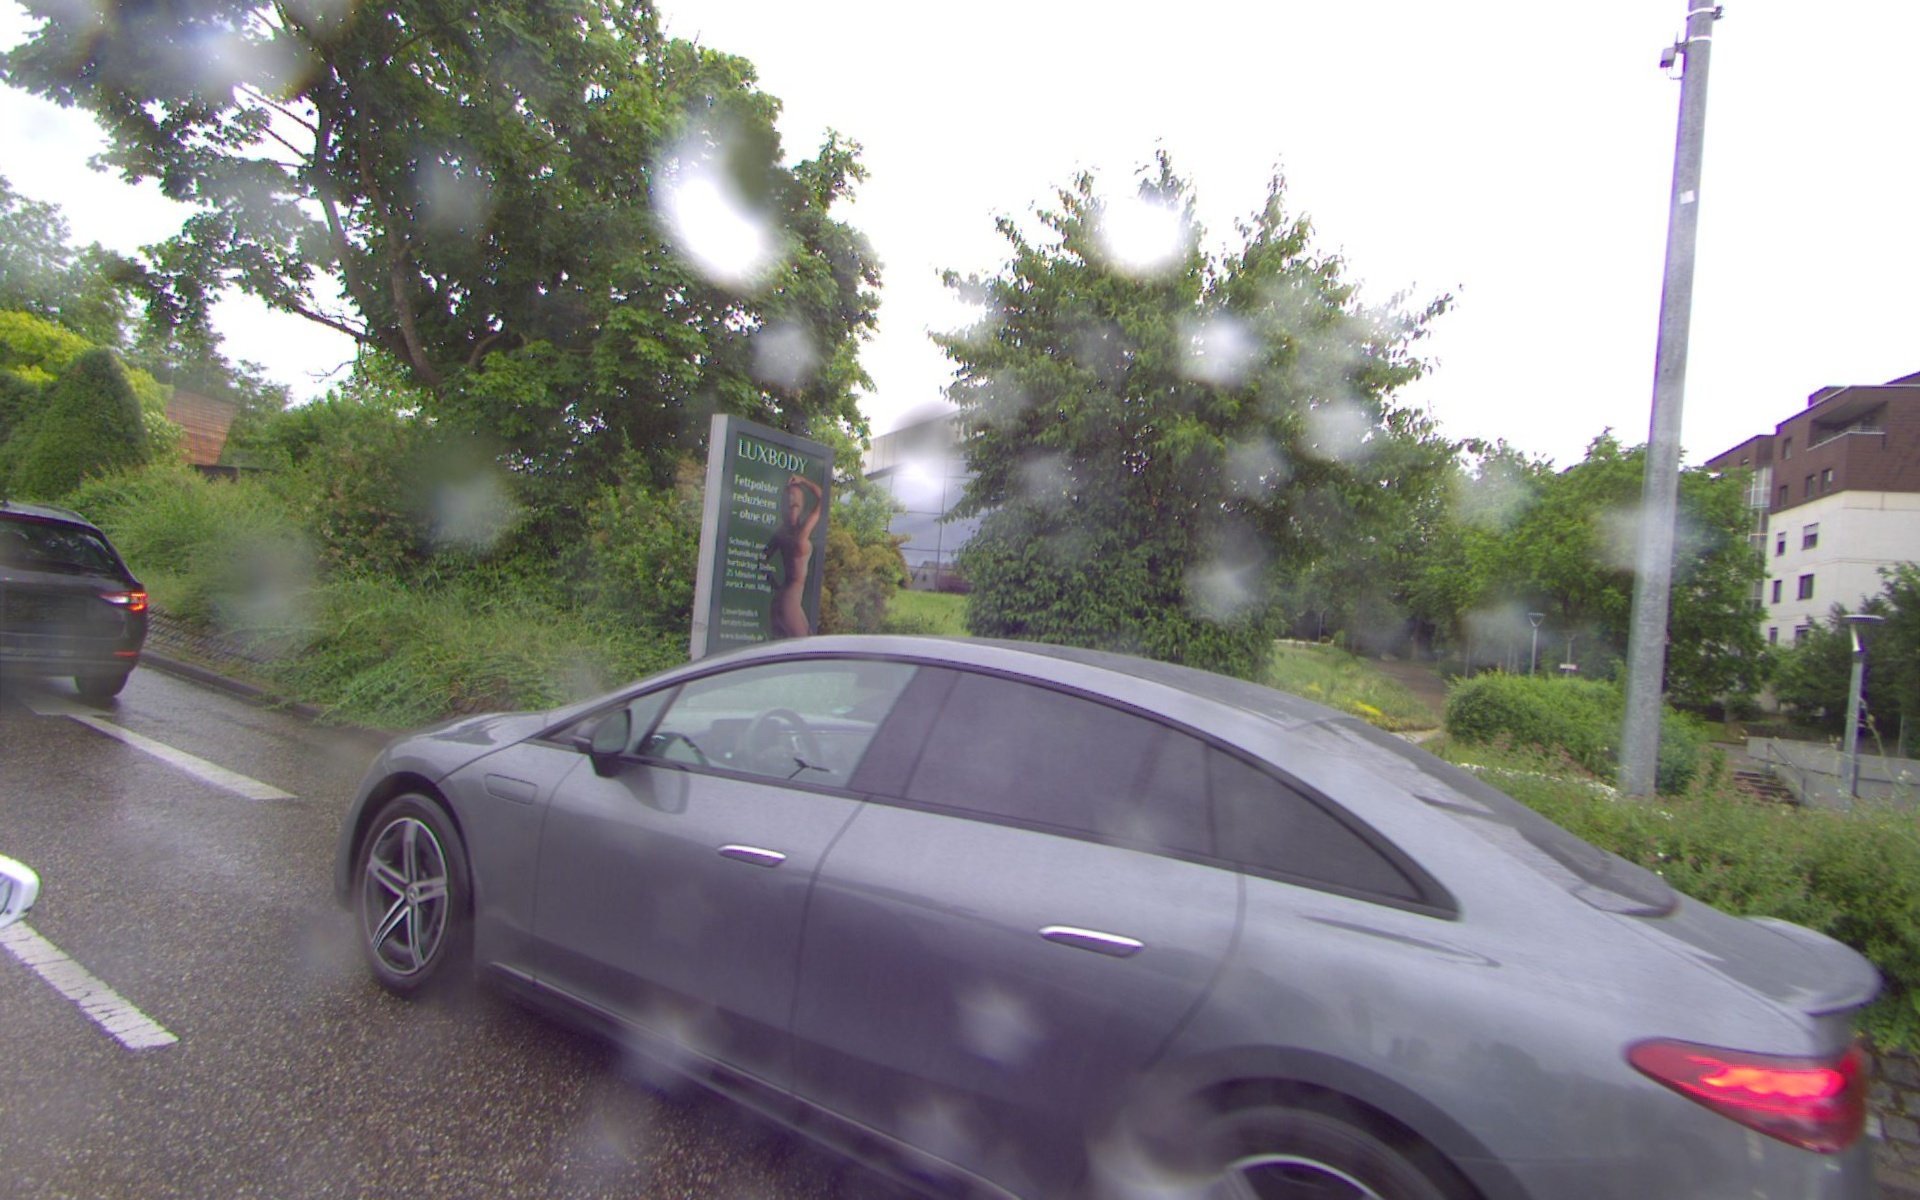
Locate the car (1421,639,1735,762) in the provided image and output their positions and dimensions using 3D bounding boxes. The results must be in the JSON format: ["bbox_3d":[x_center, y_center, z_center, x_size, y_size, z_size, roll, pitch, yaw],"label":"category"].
[{"bbox_3d":[16.814,2.674,27.901,6.638,2.302,2.797,7,1,11],"label":"car"}]

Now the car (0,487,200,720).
[{"bbox_3d":[-8.228,-0.173,8.097,4.536,1.524,1.957,6,-3,35],"label":"car"}]

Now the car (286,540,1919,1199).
[{"bbox_3d":[-0.083,0.815,3.395,4.475,1.460,1.835,7,-2,32],"label":"car"}]
